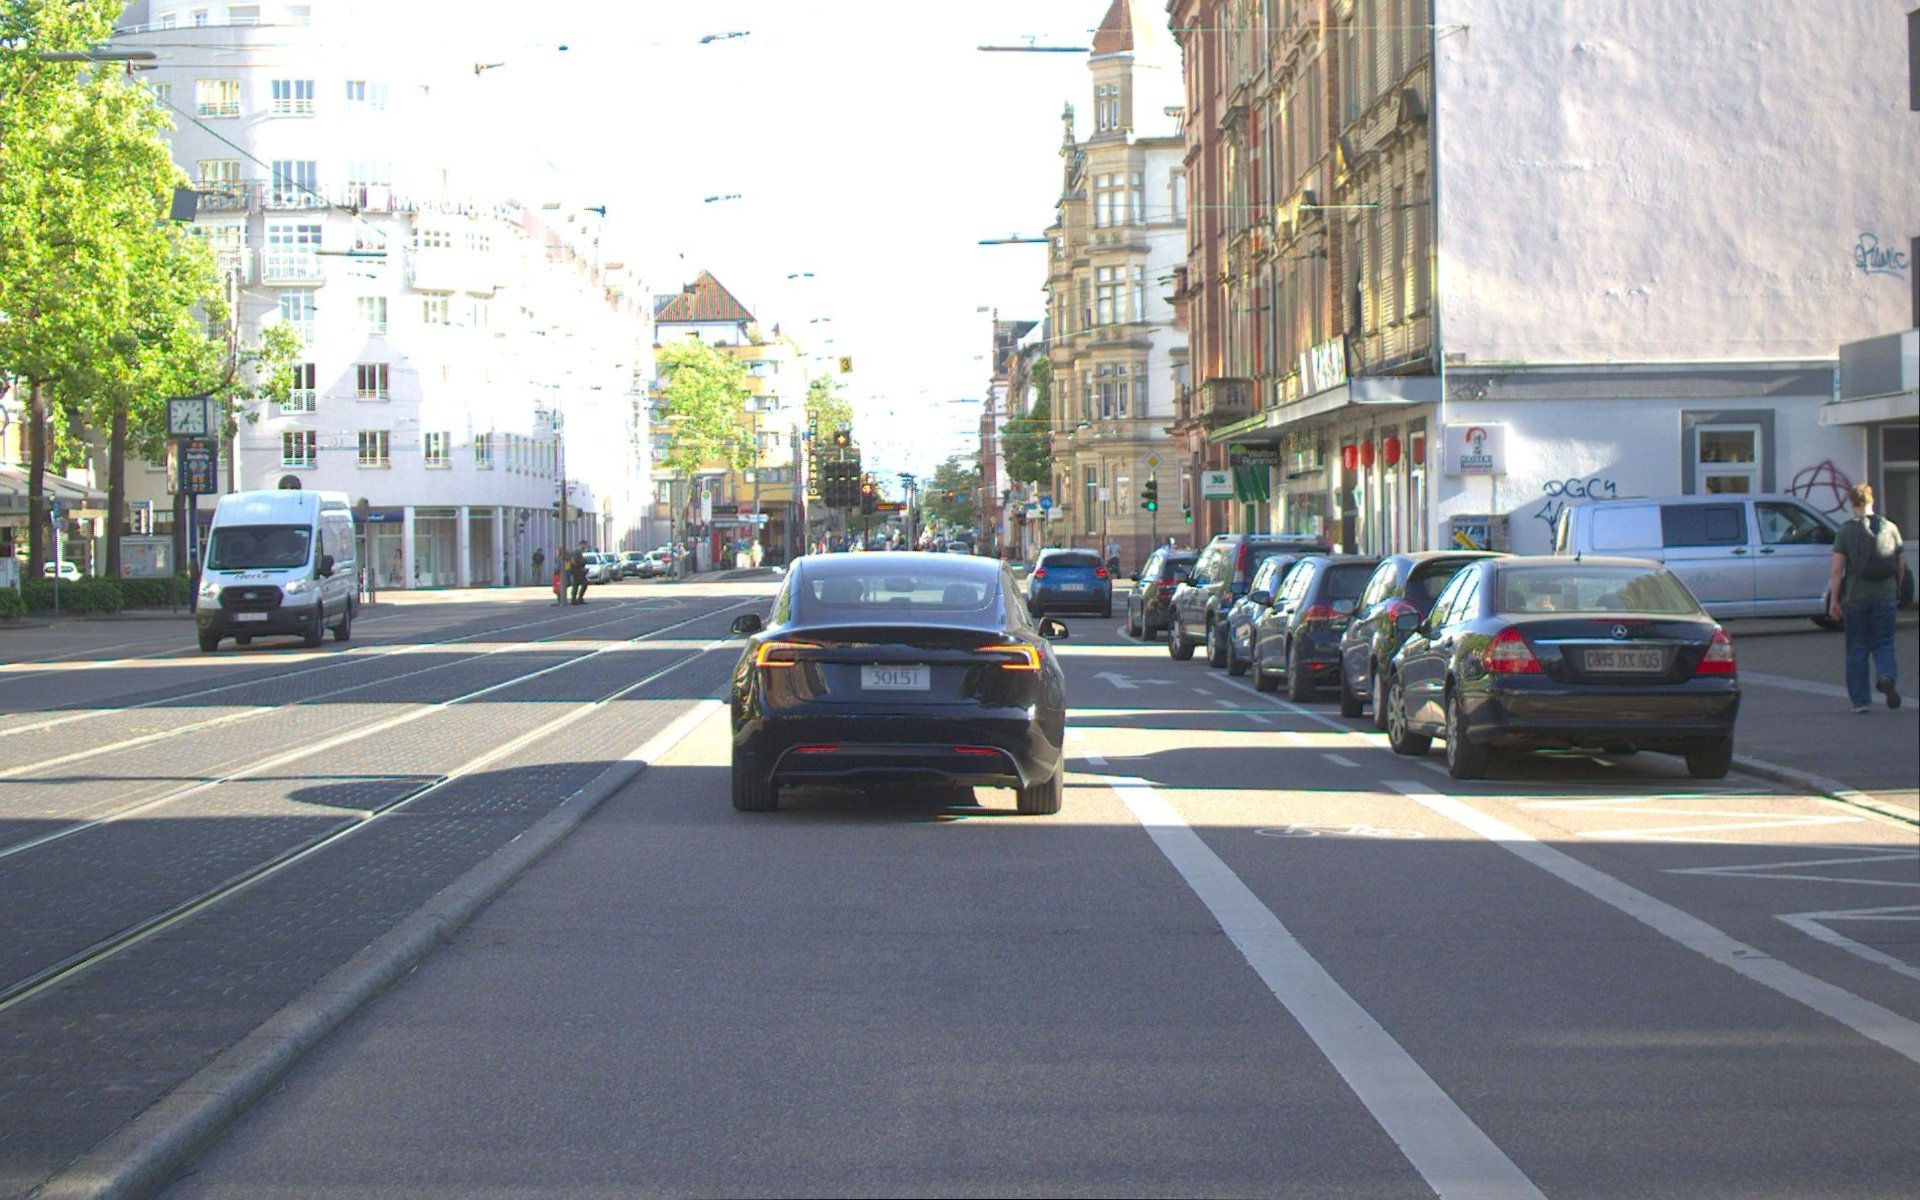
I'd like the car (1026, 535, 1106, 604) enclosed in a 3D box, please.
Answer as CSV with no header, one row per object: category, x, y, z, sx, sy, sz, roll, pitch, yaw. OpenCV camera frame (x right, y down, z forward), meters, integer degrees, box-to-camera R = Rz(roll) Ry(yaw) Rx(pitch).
car,2.263,-0.651,73.911,1.593,1.428,3.686,-1,0,0

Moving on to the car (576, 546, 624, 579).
car,-17.991,-1.866,171.940,1.993,1.569,4.000,-1,0,-1

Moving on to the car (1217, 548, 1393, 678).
car,3.995,0.156,40.301,1.578,1.439,3.914,0,0,-1

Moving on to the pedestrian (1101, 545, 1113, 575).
pedestrian,5.847,-1.595,136.905,0.441,1.217,0.389,-1,1,-1

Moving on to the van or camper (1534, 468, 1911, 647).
van or camper,10.299,-0.567,46.706,4.644,2.129,1.987,-3,0,4

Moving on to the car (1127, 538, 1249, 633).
car,3.675,-0.245,55.918,1.715,1.467,3.719,-1,0,0

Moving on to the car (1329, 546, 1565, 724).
car,4.142,0.292,29.641,1.578,1.442,3.309,0,0,0

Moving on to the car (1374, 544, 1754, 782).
car,4.004,0.375,23.507,1.710,1.452,4.550,1,0,-1

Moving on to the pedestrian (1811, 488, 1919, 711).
pedestrian,7.533,-0.009,28.457,0.721,1.806,0.889,-1,0,-1

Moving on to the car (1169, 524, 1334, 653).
car,3.789,-0.134,45.332,1.829,1.622,4.095,0,0,0

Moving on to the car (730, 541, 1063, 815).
car,-0.386,0.378,19.812,1.719,1.400,3.710,1,1,-2

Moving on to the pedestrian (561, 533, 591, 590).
pedestrian,-10.315,-1.032,92.325,0.702,1.496,0.795,0,0,0

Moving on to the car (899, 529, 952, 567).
car,-1.491,-2.216,148.049,1.993,1.520,4.000,1,0,-5

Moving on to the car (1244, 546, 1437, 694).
car,3.839,0.203,35.181,1.461,1.427,3.814,0,0,-1

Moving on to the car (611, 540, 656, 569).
car,-17.163,-2.406,181.033,1.993,1.490,4.000,-1,1,-1

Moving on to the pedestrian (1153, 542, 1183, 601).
pedestrian,5.756,-0.785,95.246,0.748,1.611,0.706,-1,0,-3

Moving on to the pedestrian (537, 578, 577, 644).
pedestrian,-10.498,0.285,89.510,0.845,1.689,0.796,1,1,7

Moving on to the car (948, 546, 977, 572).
car,0.168,-2.629,220.733,1.846,1.587,4.000,-1,1,0

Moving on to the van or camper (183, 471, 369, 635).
van or camper,-11.731,-0.789,59.459,2.139,2.645,6.881,-1,0,-3

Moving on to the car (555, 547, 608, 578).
car,-17.181,-1.711,156.276,1.993,1.363,4.000,-1,0,-1
